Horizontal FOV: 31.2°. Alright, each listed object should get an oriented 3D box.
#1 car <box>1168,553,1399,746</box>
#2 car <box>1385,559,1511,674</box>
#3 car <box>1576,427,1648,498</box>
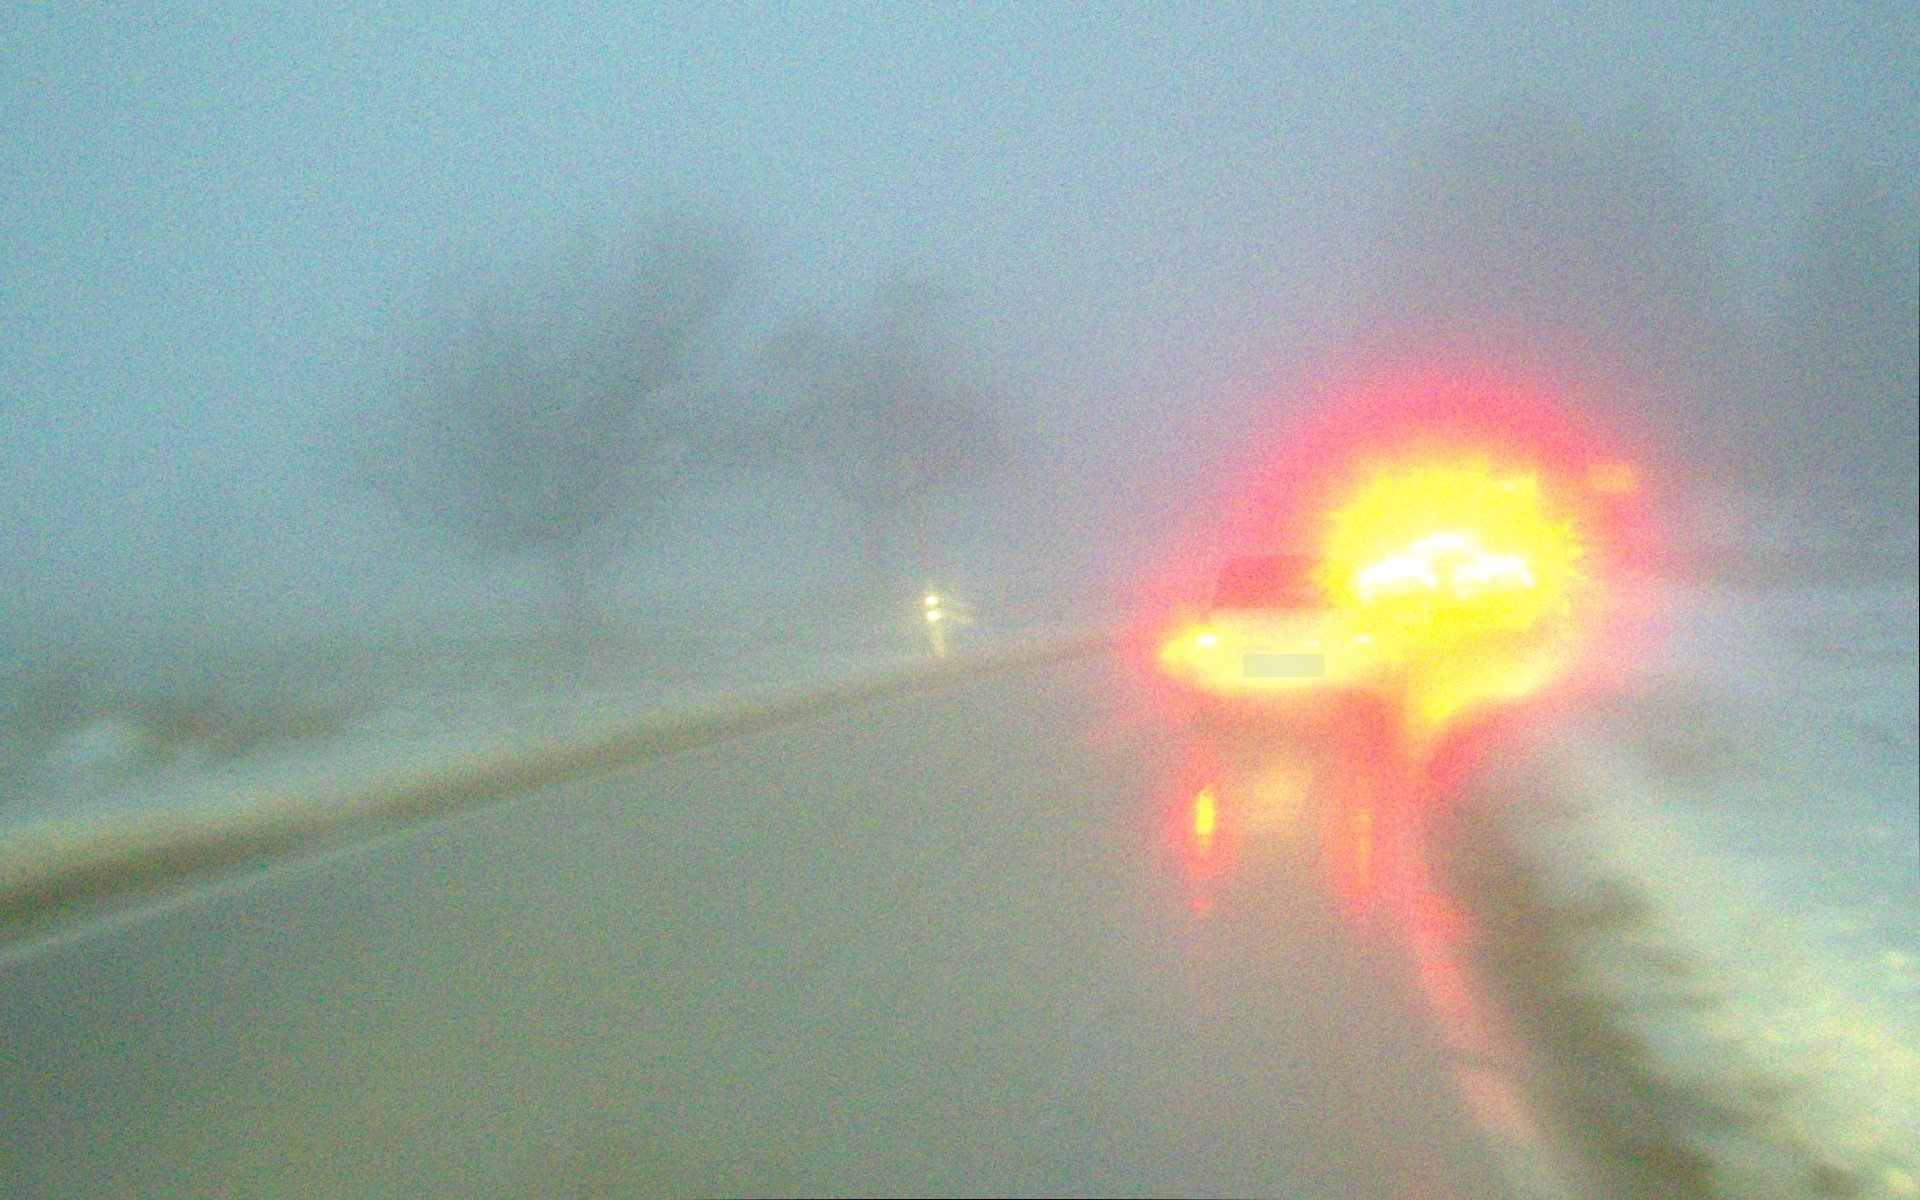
[{"bbox_3d":[2.803,0.382,29.154,1.707,1.458,3.999,2,0,8],"label":"car"},{"bbox_3d":[6.811,0.211,47.802,1.479,1.503,3.051,-1,1,12],"label":"car"},{"bbox_3d":[15.101,-3.166,79.516,1.523,1.503,3.051,-1,0,12],"label":"car"}]
